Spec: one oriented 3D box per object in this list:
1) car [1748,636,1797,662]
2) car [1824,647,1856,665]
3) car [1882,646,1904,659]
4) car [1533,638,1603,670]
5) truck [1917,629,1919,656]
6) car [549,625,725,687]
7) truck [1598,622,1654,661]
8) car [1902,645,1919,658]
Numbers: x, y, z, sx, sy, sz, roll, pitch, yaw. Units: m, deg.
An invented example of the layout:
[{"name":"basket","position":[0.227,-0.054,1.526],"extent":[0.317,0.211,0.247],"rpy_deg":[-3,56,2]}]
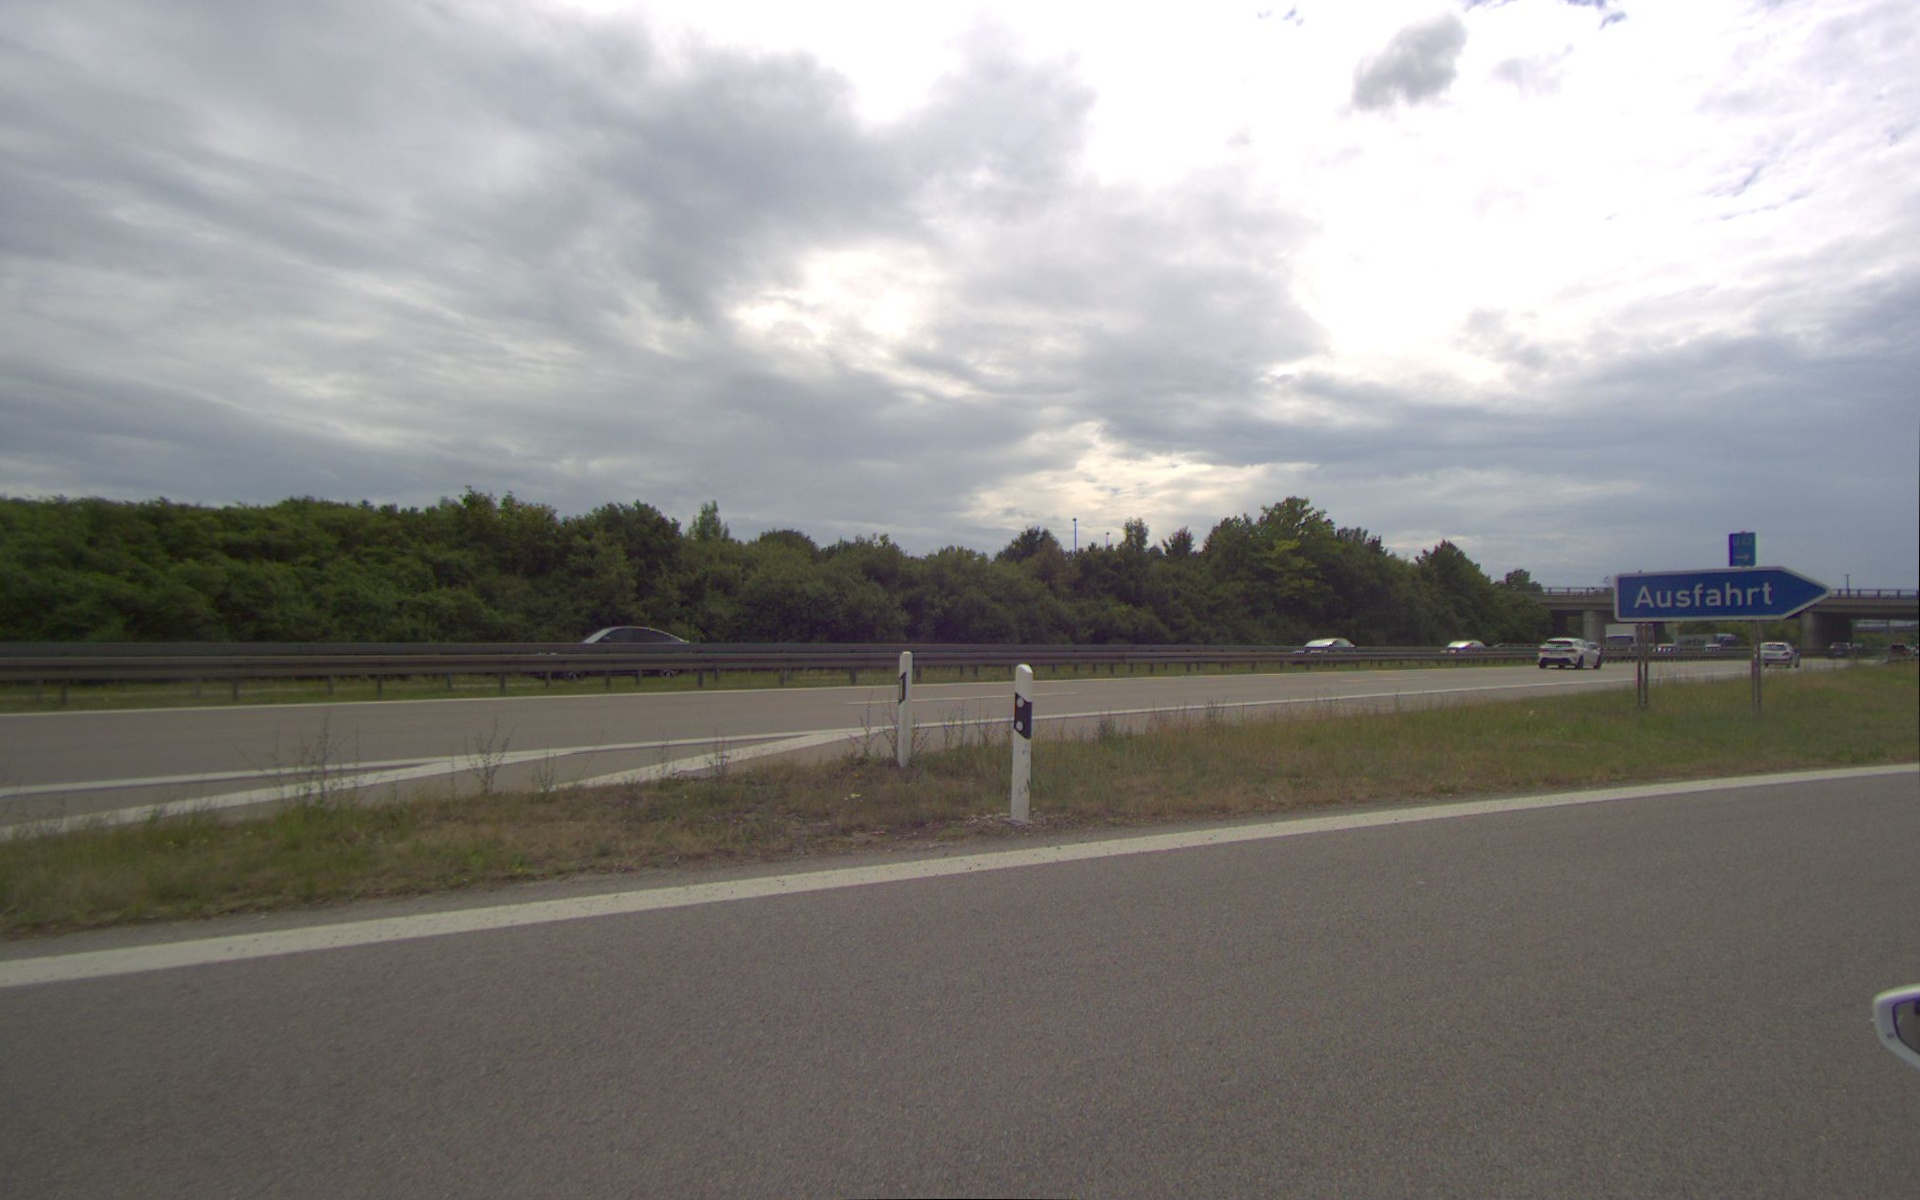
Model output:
[{"name":"car","position":[48.782,2.933,60.259],"extent":[3.971,1.539,1.702],"rpy_deg":[3,-3,-42]},{"name":"car","position":[90.083,5.688,102.804],"extent":[4.794,1.766,1.975],"rpy_deg":[3,-3,-42]},{"name":"car","position":[125.543,7.058,135.107],"extent":[4.305,1.781,1.828],"rpy_deg":[3,-2,-43]},{"name":"car","position":[29.398,2.588,48.525],"extent":[4.349,1.472,1.818],"rpy_deg":[3,-2,-44]},{"name":"truck","position":[125.361,5.578,129.457],"extent":[7.867,3.415,2.445],"rpy_deg":[3,-3,-43]},{"name":"car","position":[-9.461,1.630,29.641],"extent":[4.531,1.684,1.976],"rpy_deg":[3,-3,-42]},{"name":"truck","position":[65.583,4.090,98.854],"extent":[8.137,3.694,2.734],"rpy_deg":[3,-2,-42]},{"name":"car","position":[138.763,7.530,146.291],"extent":[3.970,1.834,1.976],"rpy_deg":[2,-2,-42]}]
